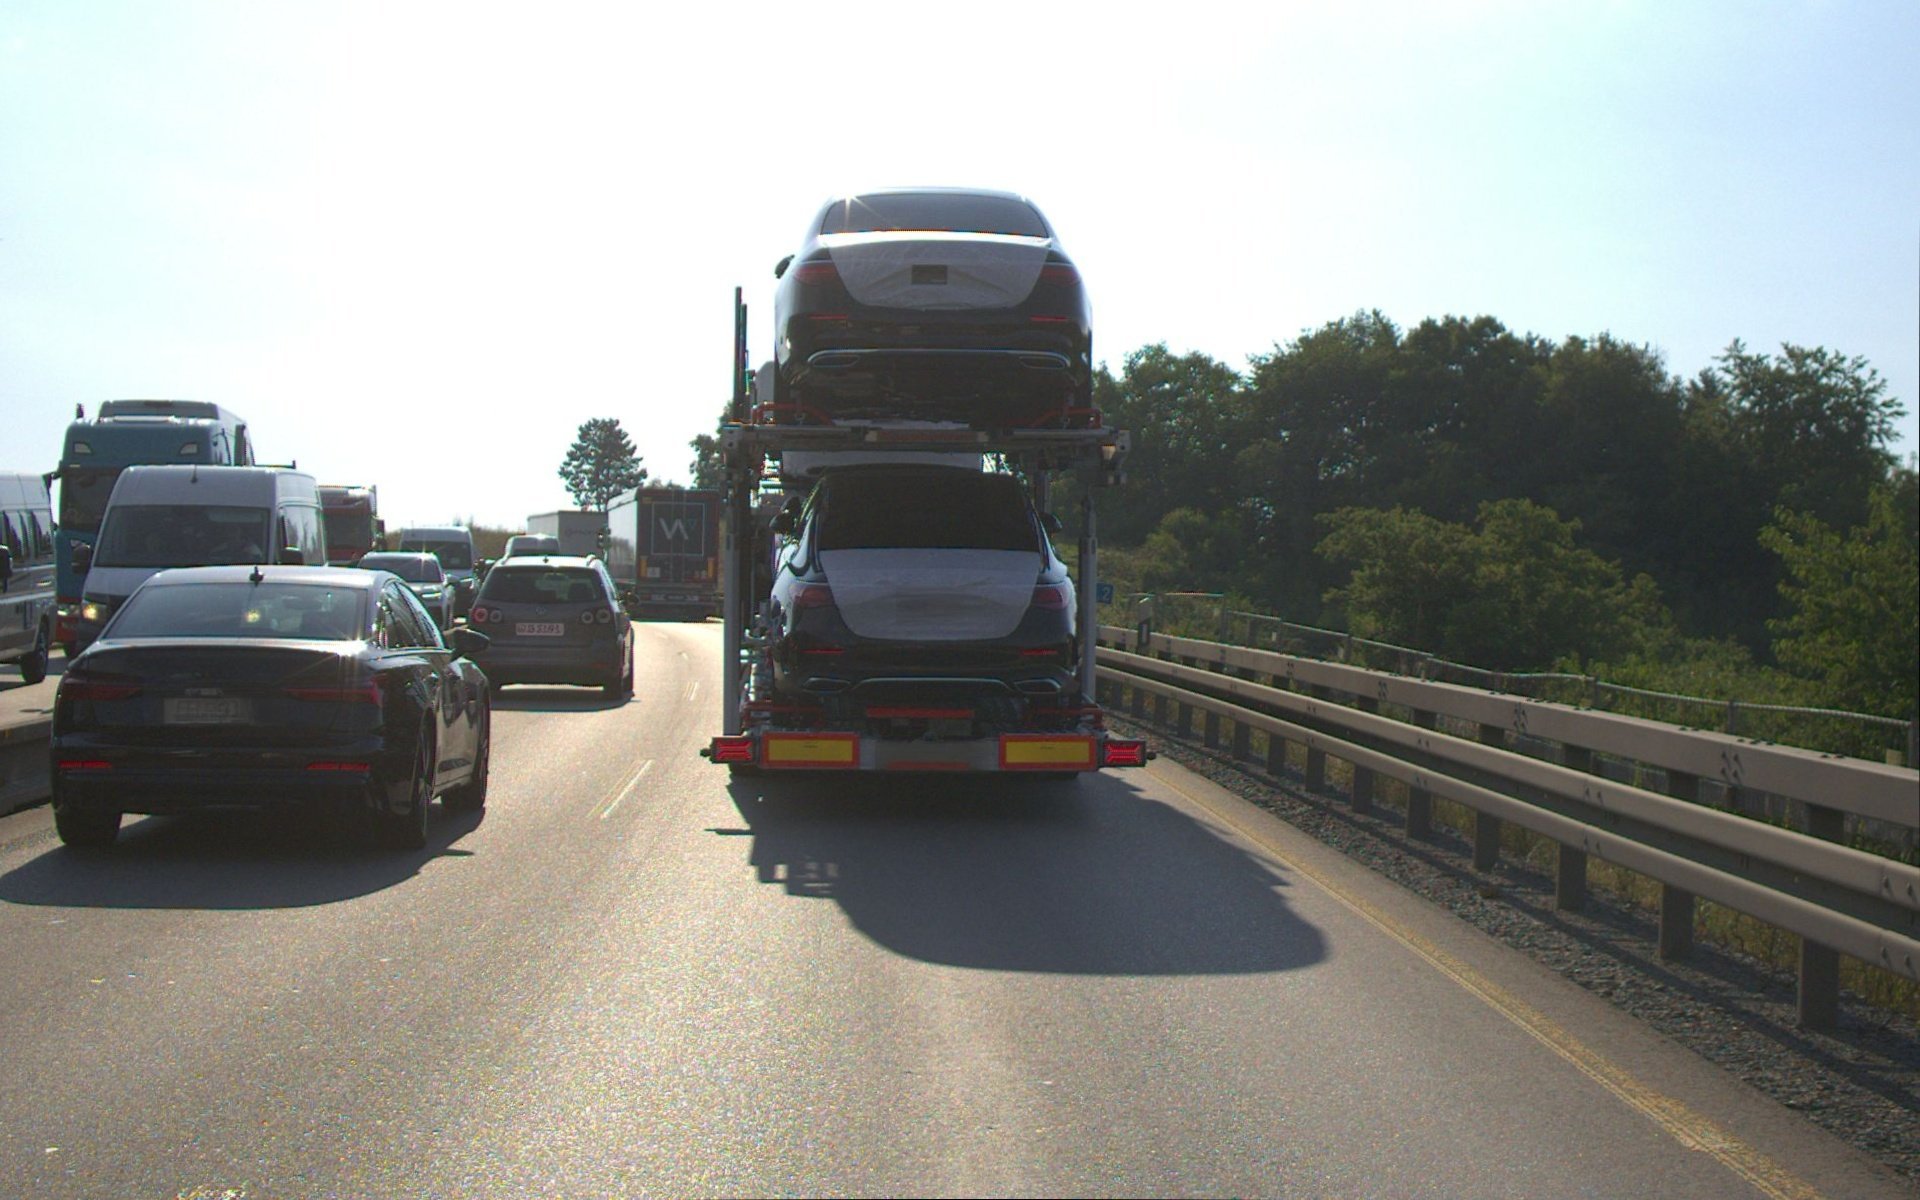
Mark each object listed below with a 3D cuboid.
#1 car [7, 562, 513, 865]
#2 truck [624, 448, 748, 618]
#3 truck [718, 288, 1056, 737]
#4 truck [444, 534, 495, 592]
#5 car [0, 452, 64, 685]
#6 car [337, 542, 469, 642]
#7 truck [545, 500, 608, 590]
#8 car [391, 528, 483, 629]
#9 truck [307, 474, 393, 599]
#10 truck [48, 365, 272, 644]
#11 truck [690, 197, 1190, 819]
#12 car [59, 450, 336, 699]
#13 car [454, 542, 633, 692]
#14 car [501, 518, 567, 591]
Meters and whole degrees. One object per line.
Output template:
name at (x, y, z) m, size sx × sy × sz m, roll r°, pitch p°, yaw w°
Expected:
car at (-3.670, 0.518, 18.936) m, size 1.934 × 1.394 × 4.961 m, roll 1°, pitch 1°, yaw -2°
truck at (-8.917, -2.109, 110.751) m, size 3.285 × 5.219 × 9.938 m, roll 0°, pitch 0°, yaw -8°
truck at (-0.874, -0.781, 34.025) m, size 2.837 × 3.779 × 9.988 m, roll 0°, pitch 1°, yaw -3°
truck at (-27.405, -2.057, 192.236) m, size 2.590 × 3.159 × 6.678 m, roll 0°, pitch 0°, yaw -6°
car at (-11.659, -0.354, 38.551) m, size 2.157 × 2.549 × 5.590 m, roll 0°, pitch 0°, yaw -5°
car at (-9.799, -0.154, 60.744) m, size 1.870 × 1.688 × 4.597 m, roll 0°, pitch 1°, yaw -4°
truck at (-15.951, -2.272, 143.345) m, size 2.530 × 3.635 × 8.907 m, roll 0°, pitch 0°, yaw -6°
car at (-13.296, -0.549, 87.678) m, size 2.104 × 2.474 × 6.068 m, roll 0°, pitch 0°, yaw -7°
truck at (-18.713, -1.885, 105.087) m, size 2.313 × 3.595 × 11.975 m, roll 0°, pitch 1°, yaw -11°
truck at (-12.259, -1.422, 53.102) m, size 2.503 × 4.052 × 5.885 m, roll 0°, pitch 0°, yaw -5°
truck at (-0.390, -0.560, 24.669) m, size 2.799 × 3.485 × 10.606 m, roll 0°, pitch 1°, yaw -3°
car at (-8.294, -0.287, 38.013) m, size 2.056 × 2.491 × 6.777 m, roll 0°, pitch 1°, yaw -5°
car at (-4.625, 0.166, 38.612) m, size 1.691 × 1.590 × 4.000 m, roll 0°, pitch 0°, yaw -3°
car at (-15.007, -1.591, 121.188) m, size 1.920 × 2.484 × 5.409 m, roll 0°, pitch 0°, yaw -3°
